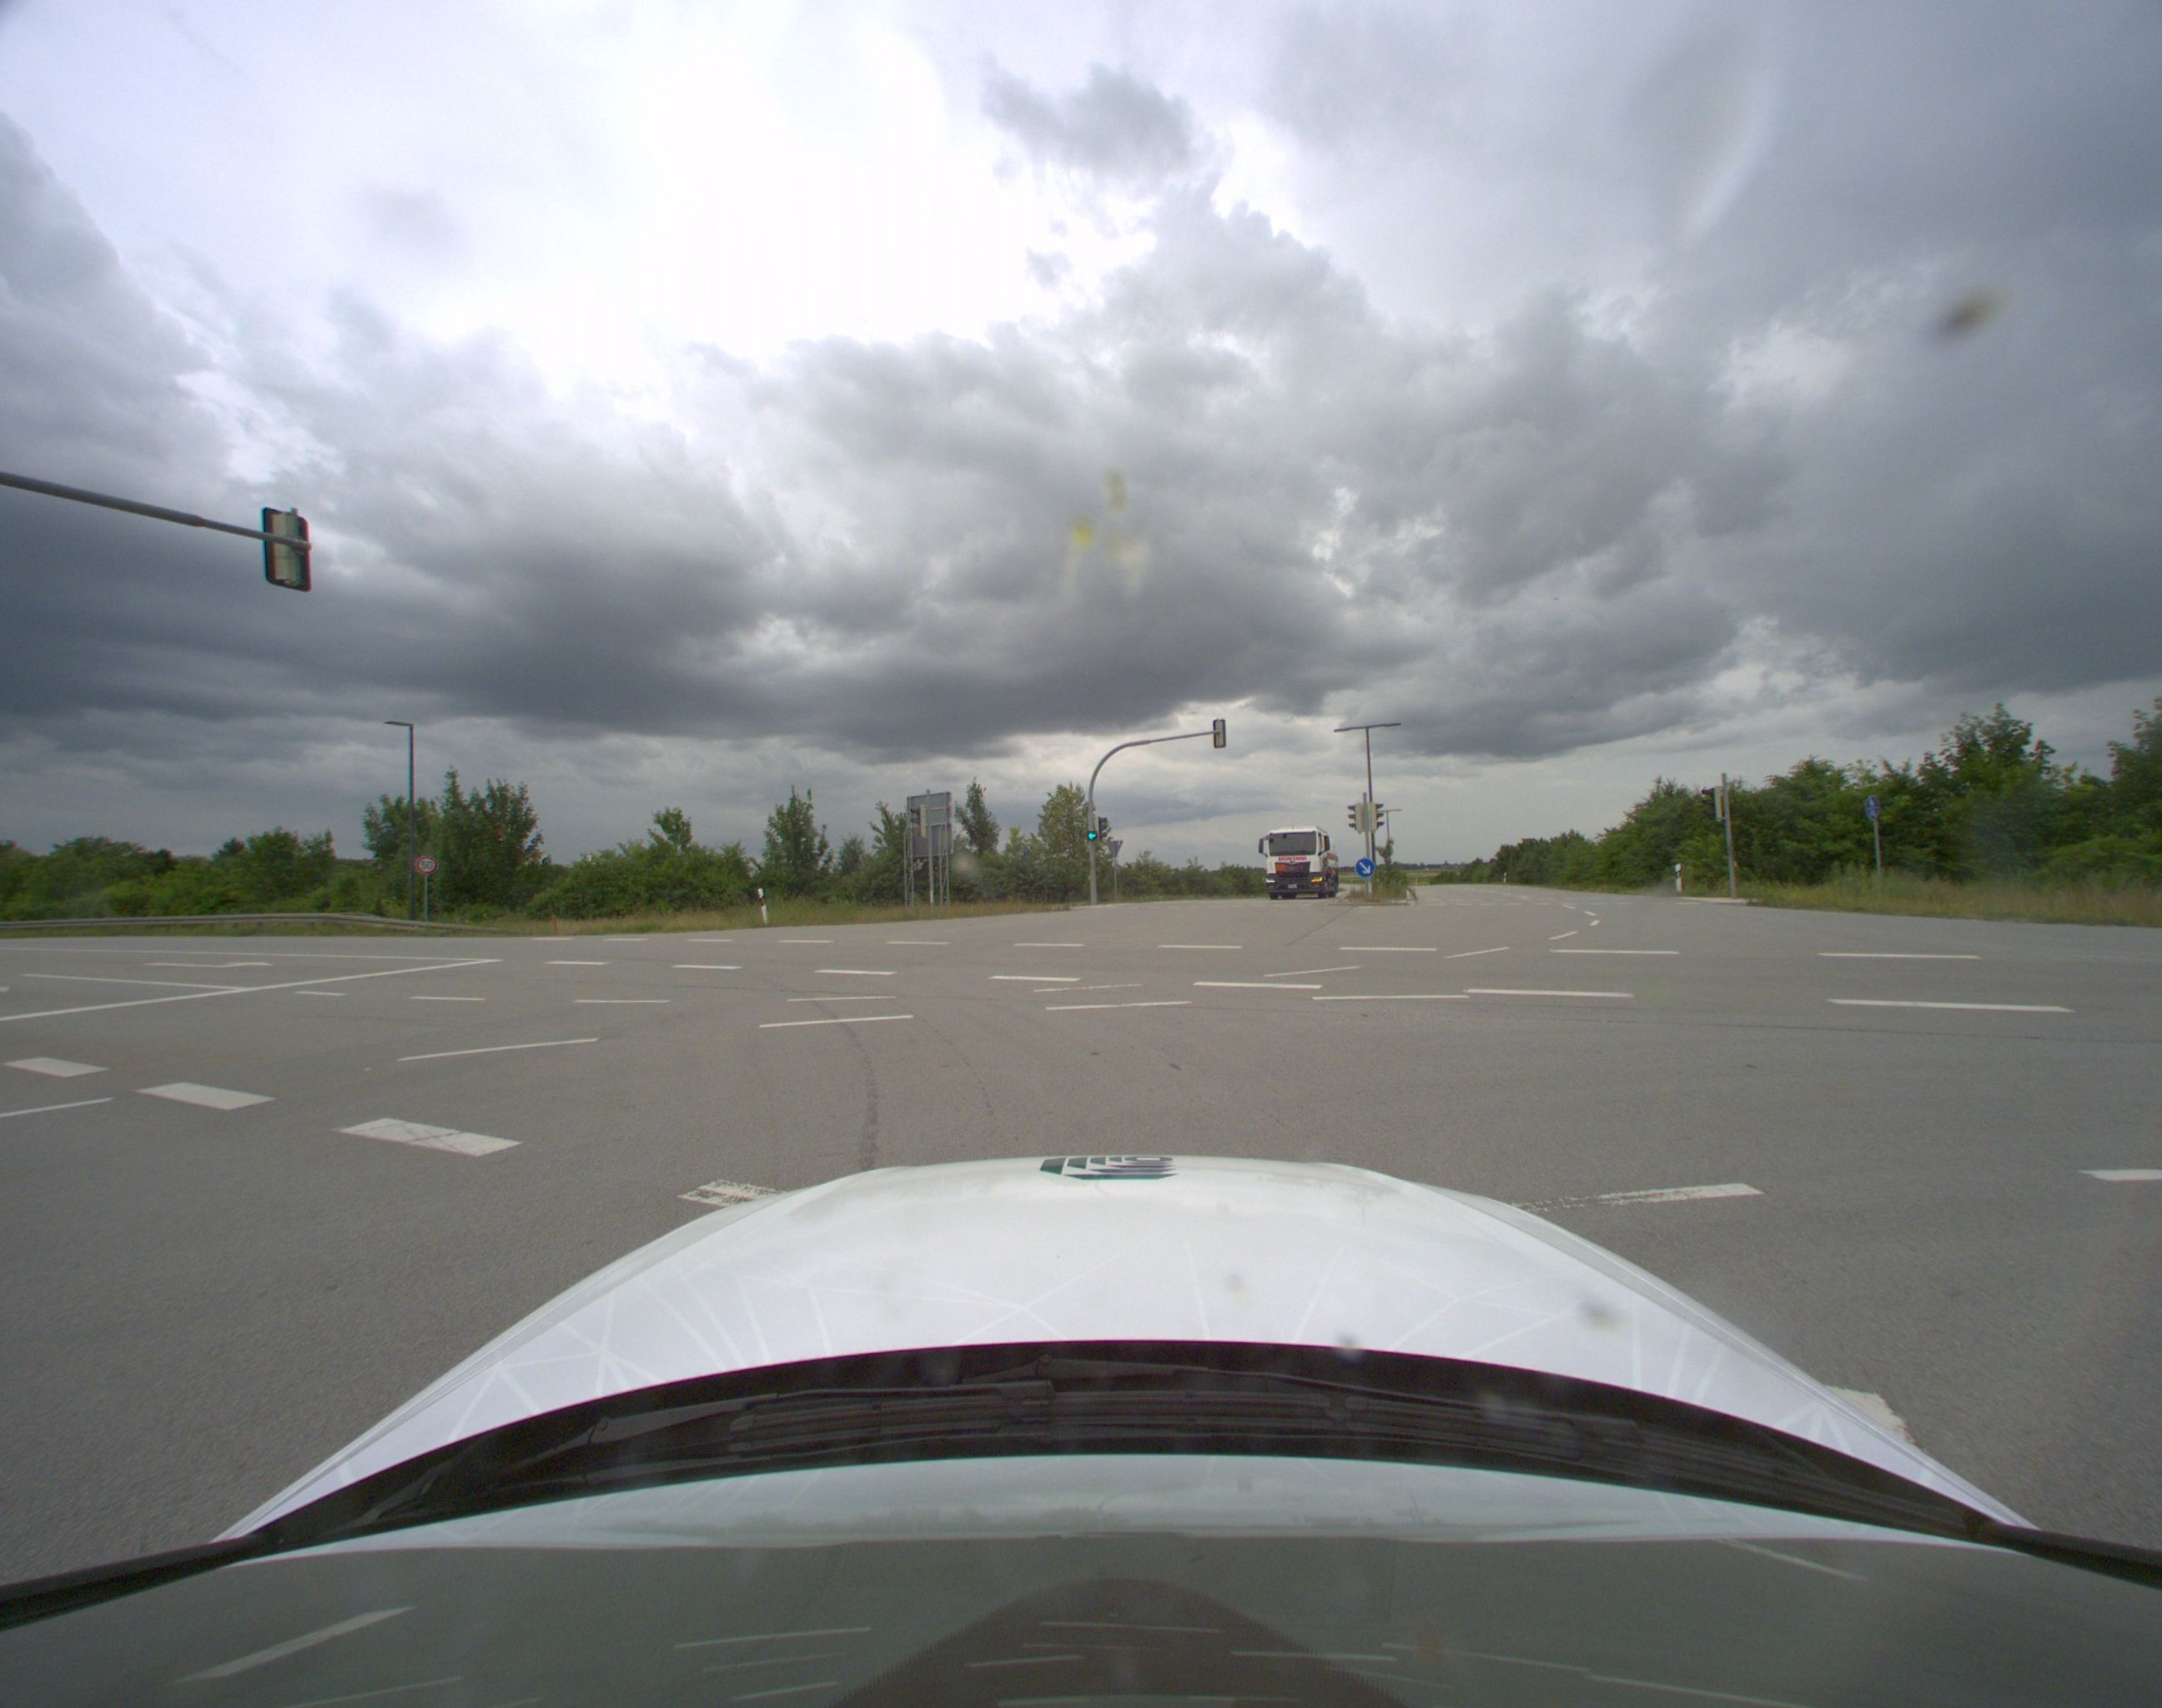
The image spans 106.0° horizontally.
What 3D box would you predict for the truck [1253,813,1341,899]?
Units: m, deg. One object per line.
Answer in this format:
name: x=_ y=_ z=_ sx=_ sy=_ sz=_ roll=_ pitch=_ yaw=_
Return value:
truck: x=10.177 y=0.231 z=37.650 sx=2.845 sy=3.408 sz=8.694 roll=-3 pitch=-3 yaw=21
